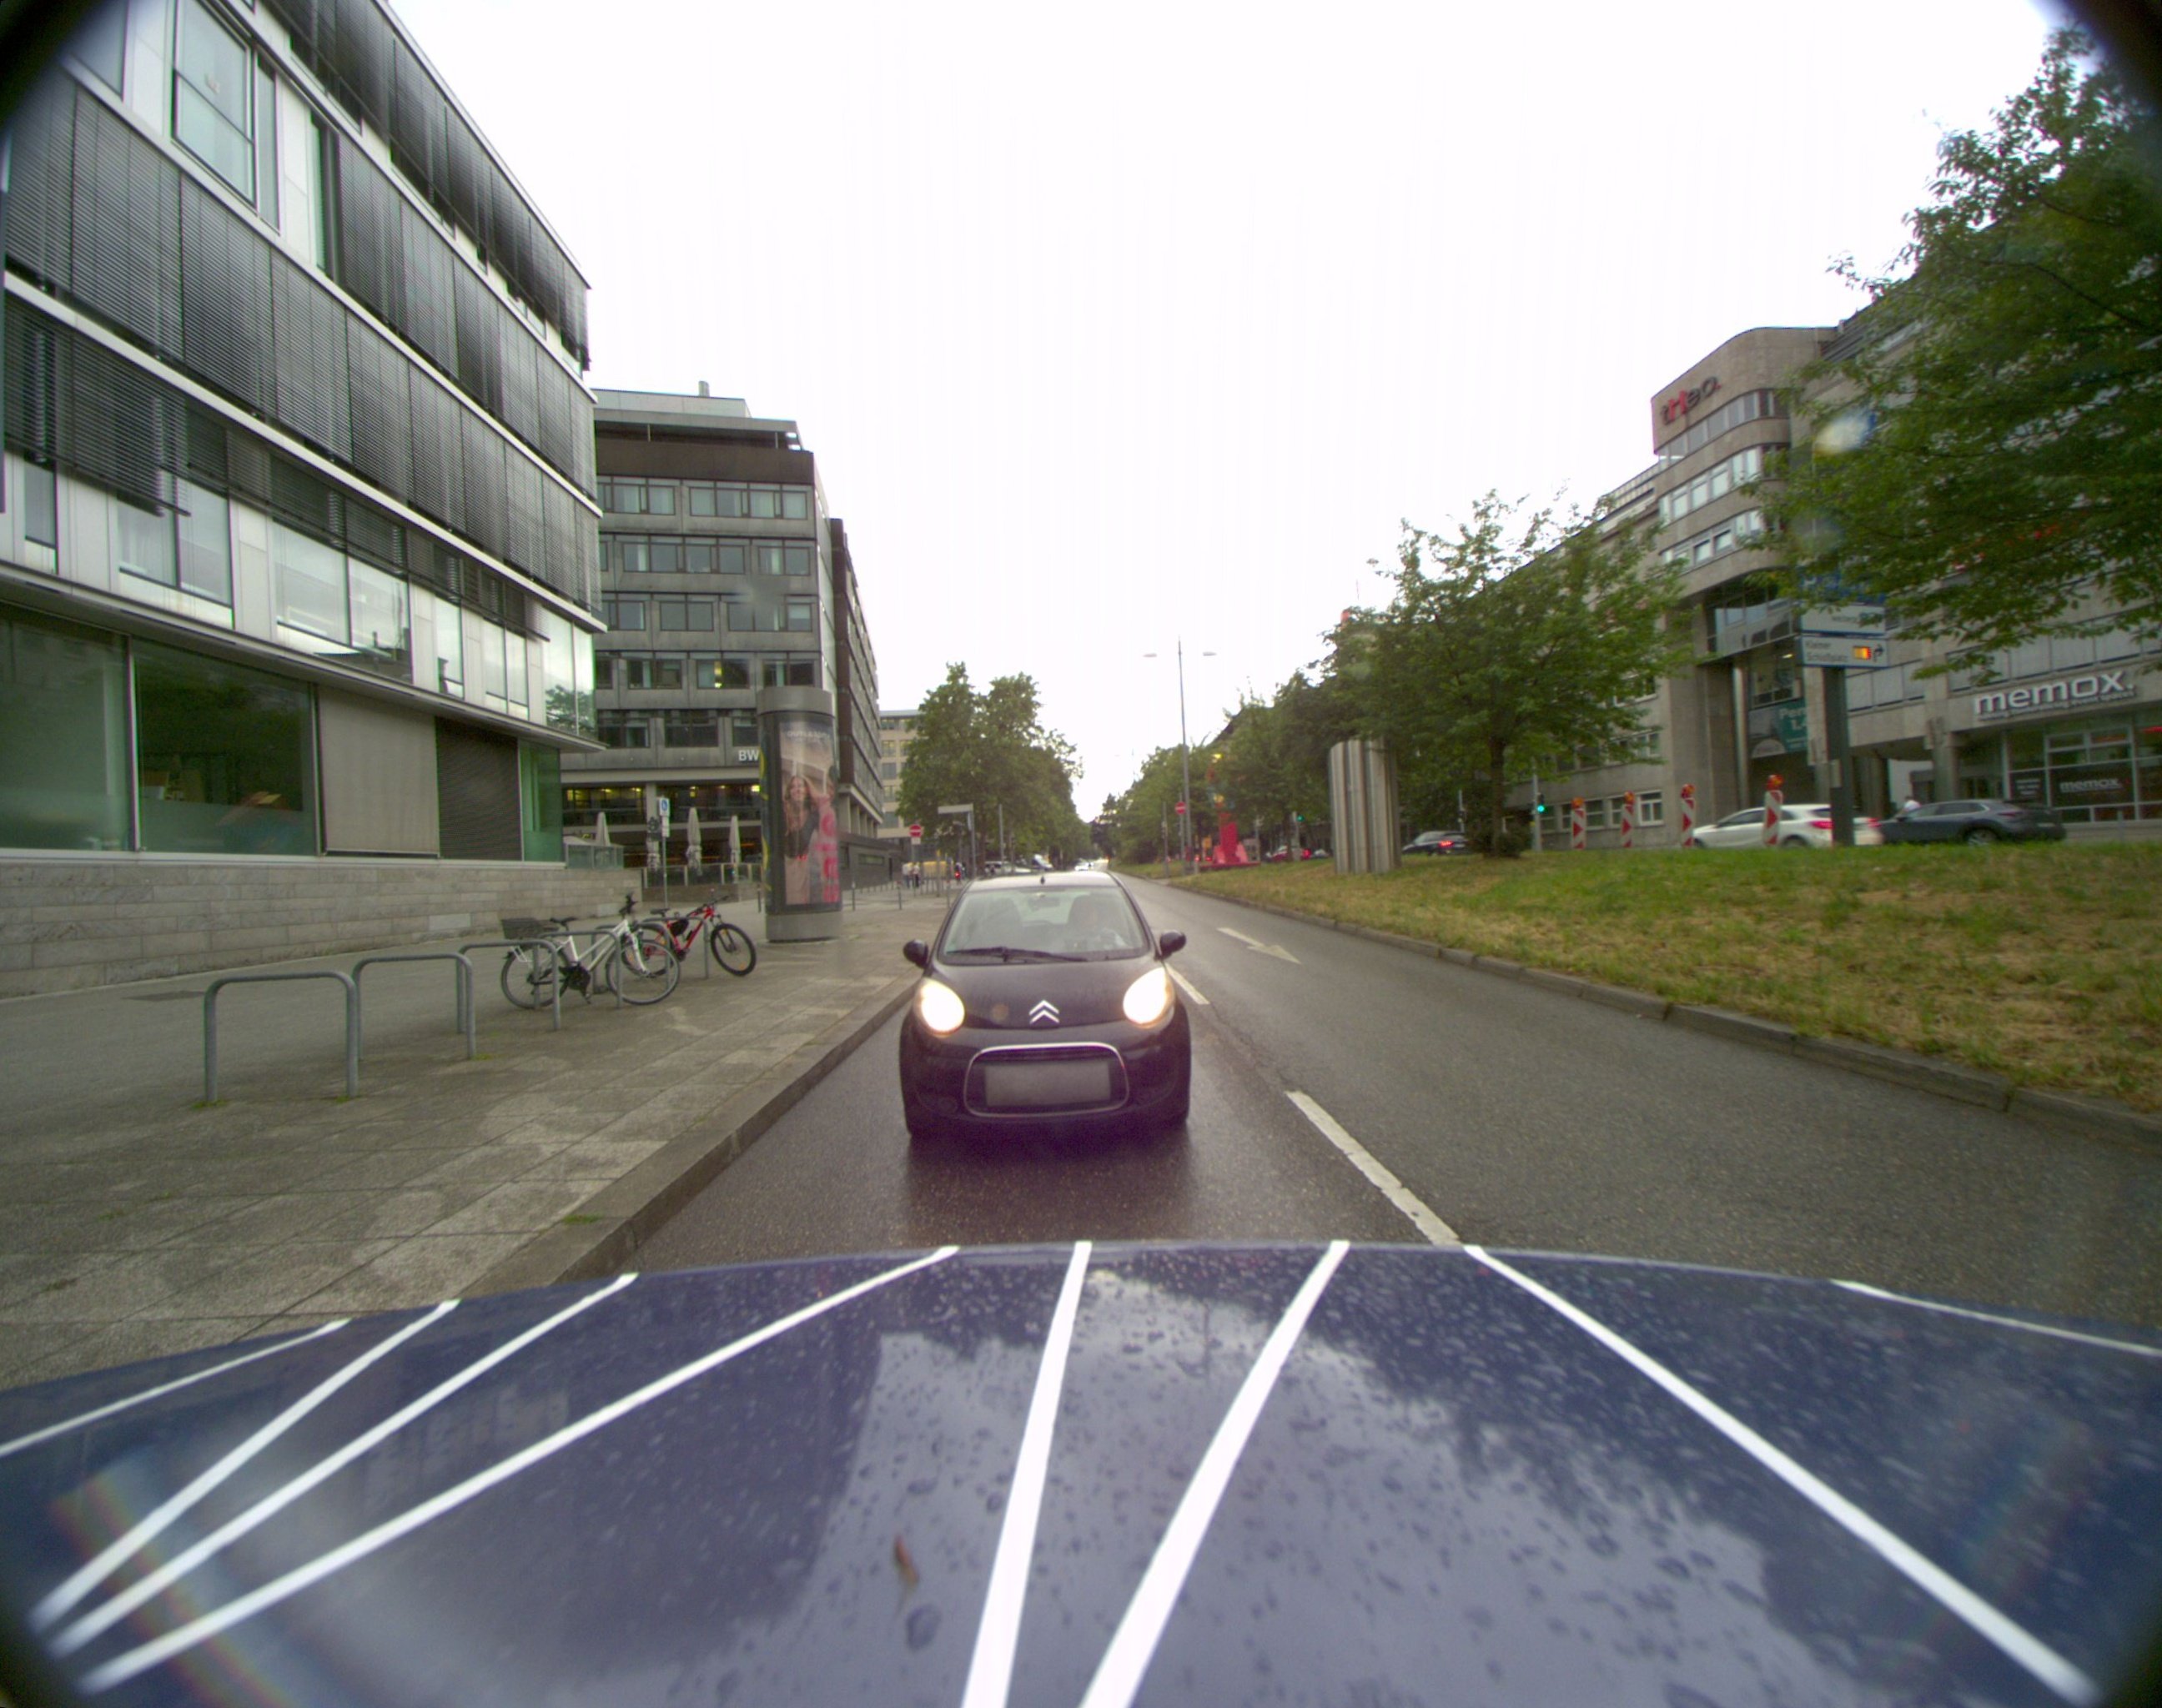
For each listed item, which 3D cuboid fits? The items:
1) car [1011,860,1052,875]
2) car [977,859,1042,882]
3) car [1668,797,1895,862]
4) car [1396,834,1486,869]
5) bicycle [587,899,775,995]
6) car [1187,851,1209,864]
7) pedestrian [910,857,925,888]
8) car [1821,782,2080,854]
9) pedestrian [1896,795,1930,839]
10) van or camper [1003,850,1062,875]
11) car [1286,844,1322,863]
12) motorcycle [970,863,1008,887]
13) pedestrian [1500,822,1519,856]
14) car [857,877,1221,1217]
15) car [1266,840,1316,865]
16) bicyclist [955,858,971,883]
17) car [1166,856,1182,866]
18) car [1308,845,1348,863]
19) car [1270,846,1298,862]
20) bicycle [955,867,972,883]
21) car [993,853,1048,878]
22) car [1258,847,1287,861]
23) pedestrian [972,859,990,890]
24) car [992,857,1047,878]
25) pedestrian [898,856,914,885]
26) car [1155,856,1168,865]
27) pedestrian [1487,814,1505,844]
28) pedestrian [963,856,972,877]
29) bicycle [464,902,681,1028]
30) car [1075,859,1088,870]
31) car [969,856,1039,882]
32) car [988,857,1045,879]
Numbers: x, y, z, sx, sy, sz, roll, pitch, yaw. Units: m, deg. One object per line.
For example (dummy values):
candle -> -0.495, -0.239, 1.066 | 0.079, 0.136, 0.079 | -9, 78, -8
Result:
car -> -5.379, 1.445, 82.714 | 4.052, 1.415, 1.711 | -4, 0, 29
car -> -5.571, 1.265, 58.787 | 4.711, 1.465, 1.920 | -4, 0, 32
car -> 18.369, -0.572, 20.231 | 1.825, 1.466, 4.190 | -3, 0, -8
car -> 16.877, -0.106, 35.859 | 1.873, 1.466, 3.997 | -3, 0, -8
bicycle -> -5.133, 1.183, 9.826 | 1.988, 1.097, 0.808 | -2, 0, 4
car -> 13.873, 0.378, 90.185 | 1.866, 1.421, 4.132 | -2, 0, -2
pedestrian -> -10.990, 1.211, 50.996 | 0.852, 2.027, 0.752 | -3, 0, -11
car -> 24.742, -0.932, 21.970 | 1.867, 1.715, 4.791 | -2, 0, -3
pedestrian -> 34.710, -1.539, 31.700 | 0.721, 1.777, 0.529 | -3, 0, -2
van or camper -> -5.515, 1.012, 86.379 | 6.251, 2.432, 2.319 | -4, 0, 30
car -> 21.083, -0.033, 72.112 | 1.867, 1.612, 4.467 | -2, 0, -3
motorcycle -> -5.574, 1.255, 46.071 | 2.087, 1.349, 0.677 | -3, 0, 7
pedestrian -> 23.285, -0.816, 41.269 | 0.529, 1.777, 0.721 | -3, 0, 1
car -> -0.253, 0.961, 5.493 | 1.634, 1.408, 3.834 | -3, 0, -2
car -> 15.209, -0.106, 55.237 | 1.951, 1.690, 3.997 | -3, 0, -8
bicyclist -> -8.969, 1.233, 57.846 | 0.811, 1.739, 1.080 | -6, 2, 6
car -> 14.044, 1.034, 114.885 | 1.866, 1.421, 4.566 | -2, 0, -1
car -> 21.685, 0.047, 66.926 | 1.867, 1.421, 4.565 | -2, 0, -3
car -> 20.573, 0.024, 77.101 | 1.690, 1.493, 3.692 | -2, 0, -3
bicycle -> -8.937, 1.605, 57.884 | 0.776, 1.132, 1.979 | -6, 0, 5
car -> -5.531, 1.059, 69.267 | 4.507, 1.981, 1.925 | -4, 0, 29
car -> 20.541, 0.028, 81.658 | 1.791, 1.478, 4.574 | -2, 0, -3
pedestrian -> -5.449, 1.126, 41.549 | 0.528, 1.675, 0.723 | -3, 0, 44
car -> -5.367, 1.198, 66.385 | 4.381, 1.528, 1.919 | -4, 0, 27
pedestrian -> -11.708, 1.096, 50.859 | 0.803, 1.857, 0.898 | -3, 0, 0
car -> 14.263, 1.151, 134.879 | 1.794, 1.406, 4.000 | -1, -1, -1
pedestrian -> 23.069, -1.385, 42.262 | 0.607, 1.619, 0.620 | -3, 0, 1
pedestrian -> -10.533, 1.146, 70.449 | 0.721, 1.873, 0.656 | -3, 0, -6
bicycle -> -5.294, 1.144, 7.975 | 1.840, 1.190, 0.660 | -1, 0, 4
car -> 0.080, 1.765, 128.272 | 1.791, 1.736, 4.574 | -2, 0, -3
car -> -5.638, 1.103, 55.619 | 4.792, 1.640, 1.920 | -4, 0, 30
car -> -5.394, 1.194, 63.688 | 4.347, 1.528, 1.919 | -4, 0, 27
